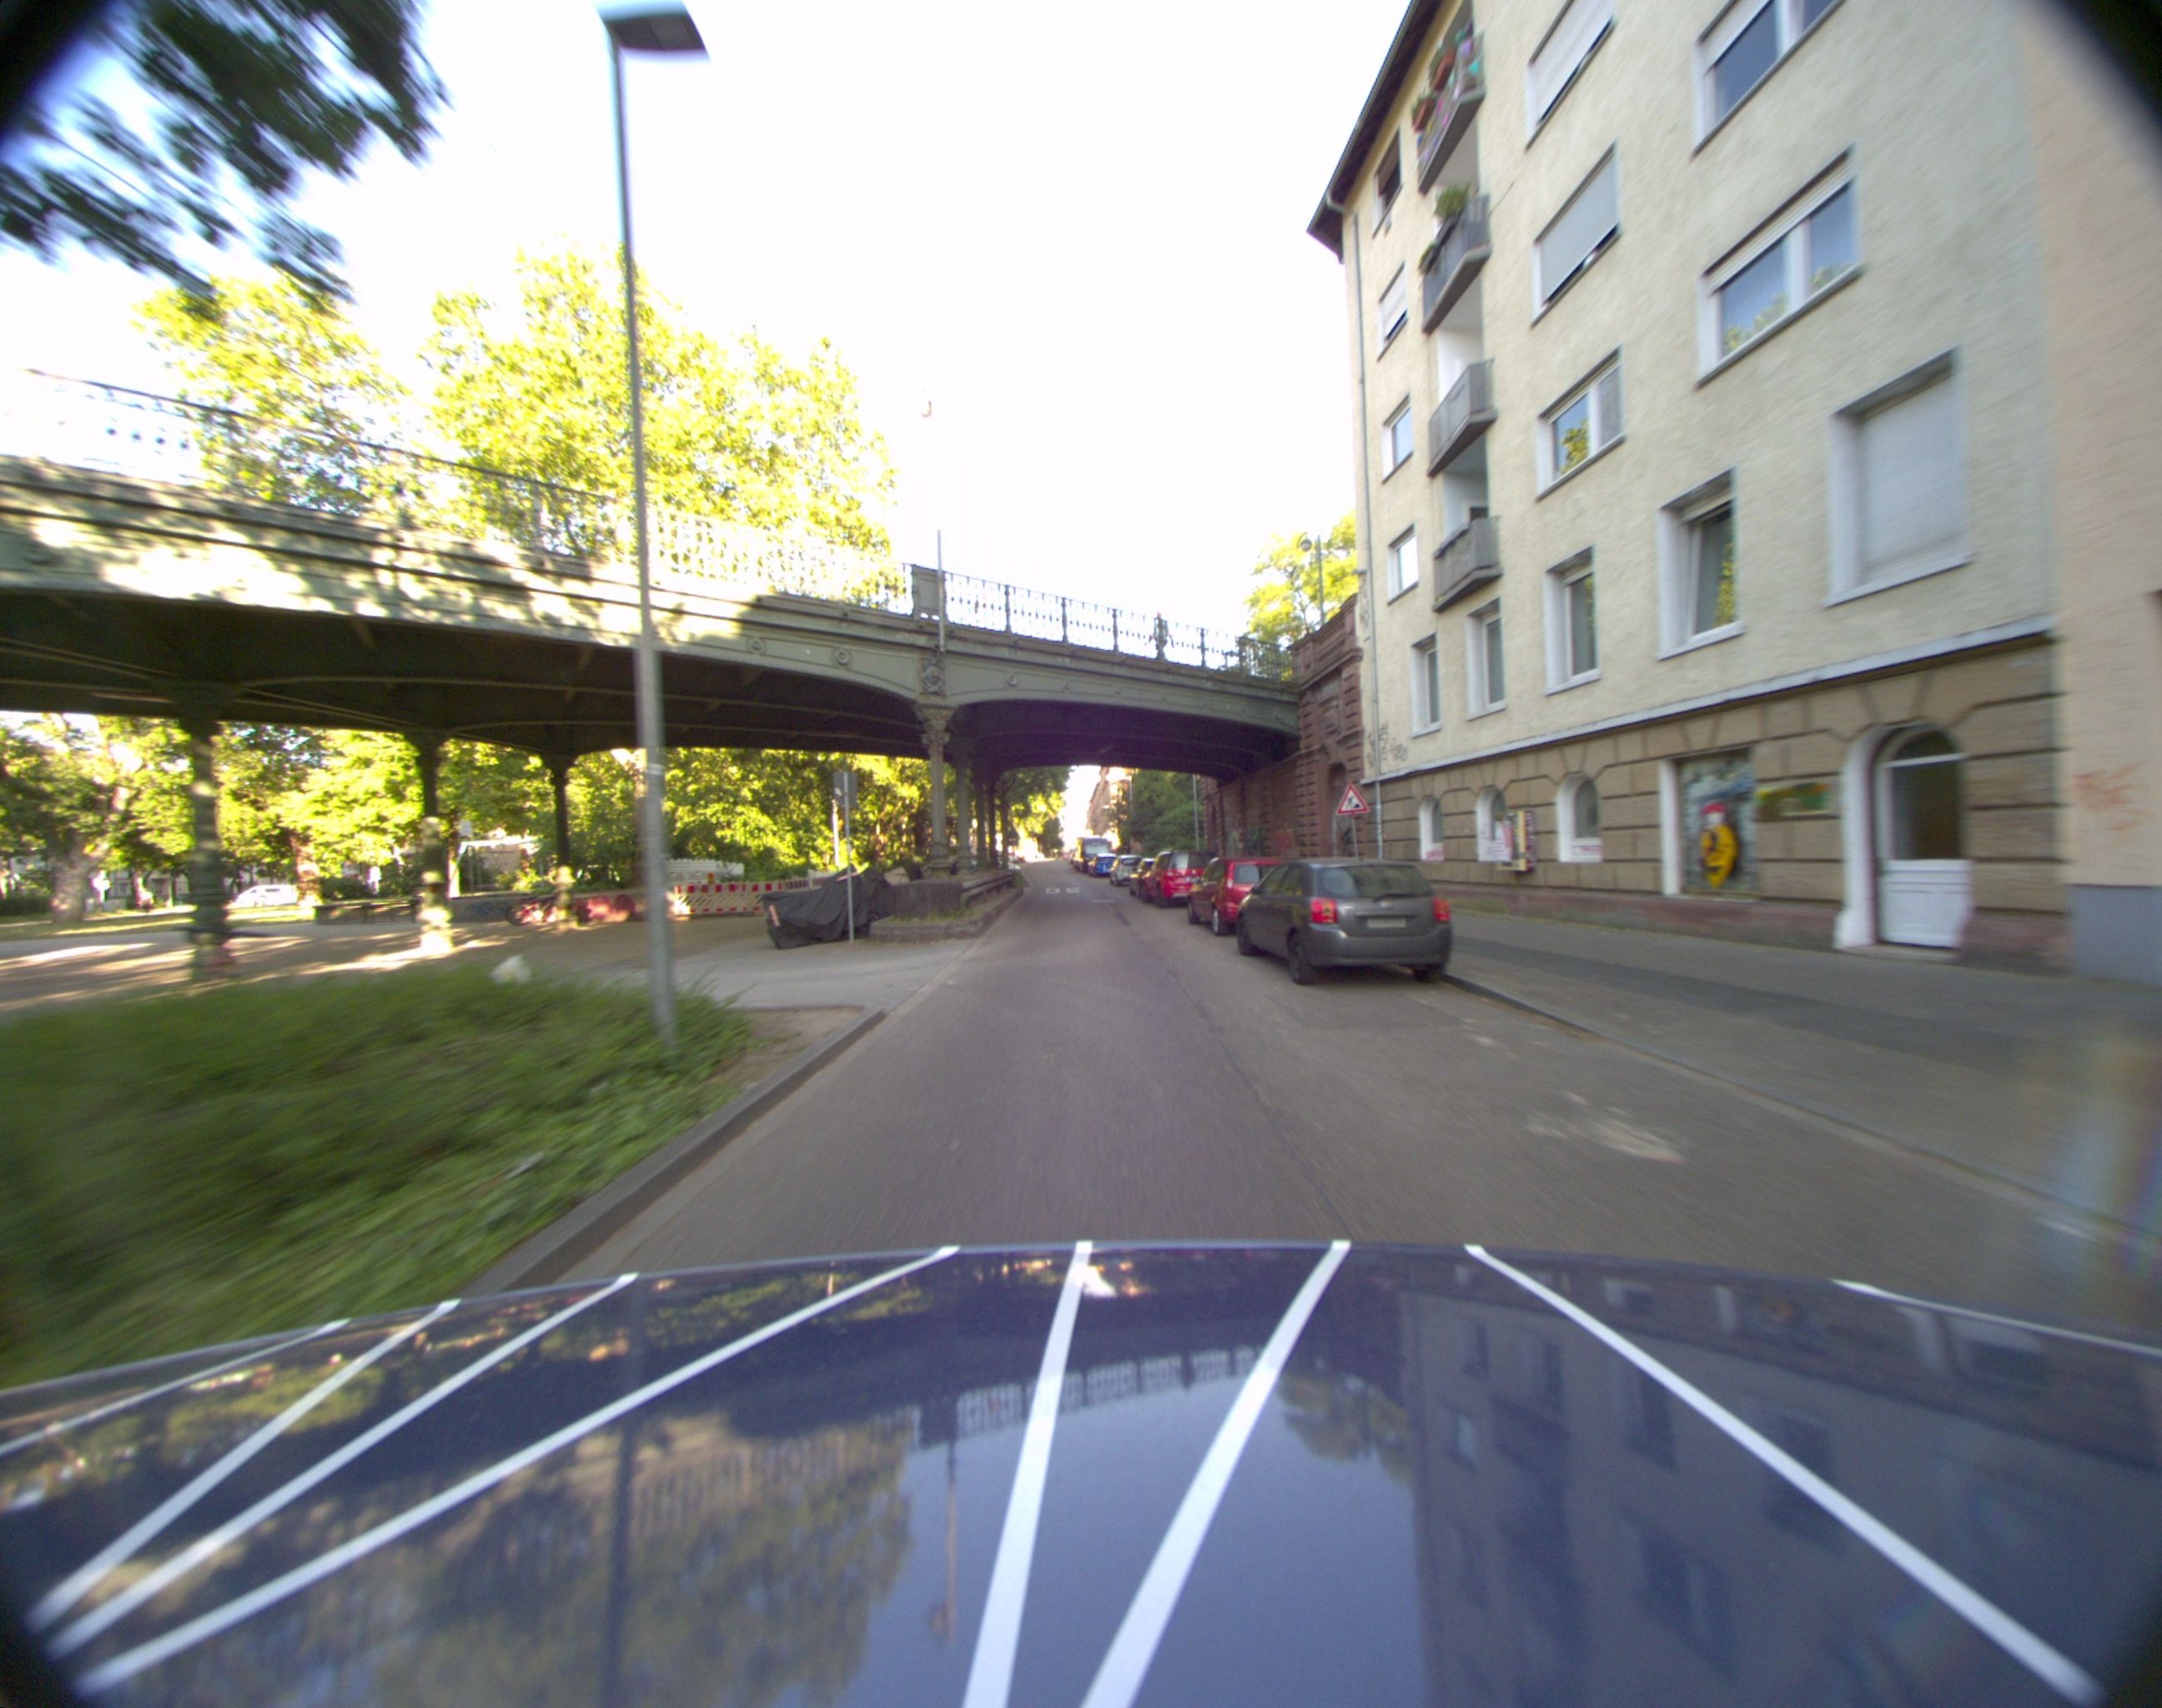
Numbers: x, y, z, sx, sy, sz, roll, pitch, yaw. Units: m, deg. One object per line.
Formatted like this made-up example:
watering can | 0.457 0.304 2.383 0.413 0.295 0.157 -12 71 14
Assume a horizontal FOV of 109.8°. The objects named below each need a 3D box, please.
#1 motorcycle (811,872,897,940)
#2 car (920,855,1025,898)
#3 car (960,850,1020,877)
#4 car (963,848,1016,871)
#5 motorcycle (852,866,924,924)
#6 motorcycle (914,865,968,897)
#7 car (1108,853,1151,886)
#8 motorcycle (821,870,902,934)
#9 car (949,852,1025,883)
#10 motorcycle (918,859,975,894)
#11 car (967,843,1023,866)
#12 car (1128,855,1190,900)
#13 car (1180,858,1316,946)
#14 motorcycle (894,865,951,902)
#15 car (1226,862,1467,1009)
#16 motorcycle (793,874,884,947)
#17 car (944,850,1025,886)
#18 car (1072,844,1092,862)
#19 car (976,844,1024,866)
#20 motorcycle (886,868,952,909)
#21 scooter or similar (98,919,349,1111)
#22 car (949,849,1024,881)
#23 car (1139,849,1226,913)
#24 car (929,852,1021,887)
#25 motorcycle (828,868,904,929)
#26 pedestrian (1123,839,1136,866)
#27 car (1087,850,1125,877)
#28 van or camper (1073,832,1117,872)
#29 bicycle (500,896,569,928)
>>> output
motorcycle | -5.051 1.146 16.928 1.602 1.400 0.713 -3 2 18
car | -4.758 0.969 33.736 4.387 1.569 1.673 -4 2 -4
car | -6.406 0.635 53.537 4.032 1.565 1.586 -4 2 -4
car | -7.335 0.460 60.998 3.997 1.565 1.665 -3 2 0
motorcycle | -5.024 1.056 19.810 1.602 1.400 0.713 -3 2 18
motorcycle | -5.180 0.996 28.151 1.729 1.024 0.810 -5 3 -36
car | 2.424 0.737 38.622 1.599 1.538 3.912 -1 1 -5
motorcycle | -5.141 1.125 17.794 1.602 1.400 0.713 -3 2 18
car | -5.647 0.793 46.045 4.387 1.524 1.875 -4 2 -4
motorcycle | -5.276 0.863 29.836 1.938 1.231 0.902 -4 2 -27
car | -7.384 0.029 65.781 4.685 1.914 1.871 0 2 -4
car | 2.803 0.803 28.079 1.721 1.455 3.999 -1 1 -2
car | 3.179 0.846 15.261 1.694 1.433 3.999 -2 1 -2
motorcycle | -5.513 1.017 26.439 1.729 1.126 0.710 -5 3 -36
car | 3.161 0.877 9.937 1.641 1.458 3.999 0 0 -2
motorcycle | -5.068 1.179 15.915 1.602 1.400 0.713 -3 2 18
car | -5.488 0.758 43.536 4.387 1.699 1.905 -4 2 -6
car | 0.060 -0.150 68.622 1.703 1.489 4.547 -1 2 -1
car | -7.296 0.078 68.379 3.996 1.748 1.798 -3 2 2
motorcycle | -5.144 1.068 24.103 1.839 1.126 0.849 -4 2 -25
scooter or similar | -7.153 1.285 6.438 0.478 1.291 1.325 -3 2 1
car | -6.001 0.655 48.589 4.545 1.686 1.906 -4 2 -4
car | 2.918 0.708 22.794 1.722 1.698 4.320 -1 1 -4
car | -5.653 0.822 40.821 4.597 1.597 1.734 -2 2 1
motorcycle | -5.344 1.103 18.887 1.602 1.400 0.713 -3 2 18
pedestrian | 3.605 -0.132 56.472 0.639 1.904 1.046 -4 2 -9
car | 1.569 0.546 48.343 1.750 1.458 4.372 -4 2 -6
van or camper | 0.906 -0.217 54.417 2.242 2.509 6.416 -4 2 -5
bicycle | -15.966 1.679 22.234 1.618 0.853 0.522 0 0 -34
